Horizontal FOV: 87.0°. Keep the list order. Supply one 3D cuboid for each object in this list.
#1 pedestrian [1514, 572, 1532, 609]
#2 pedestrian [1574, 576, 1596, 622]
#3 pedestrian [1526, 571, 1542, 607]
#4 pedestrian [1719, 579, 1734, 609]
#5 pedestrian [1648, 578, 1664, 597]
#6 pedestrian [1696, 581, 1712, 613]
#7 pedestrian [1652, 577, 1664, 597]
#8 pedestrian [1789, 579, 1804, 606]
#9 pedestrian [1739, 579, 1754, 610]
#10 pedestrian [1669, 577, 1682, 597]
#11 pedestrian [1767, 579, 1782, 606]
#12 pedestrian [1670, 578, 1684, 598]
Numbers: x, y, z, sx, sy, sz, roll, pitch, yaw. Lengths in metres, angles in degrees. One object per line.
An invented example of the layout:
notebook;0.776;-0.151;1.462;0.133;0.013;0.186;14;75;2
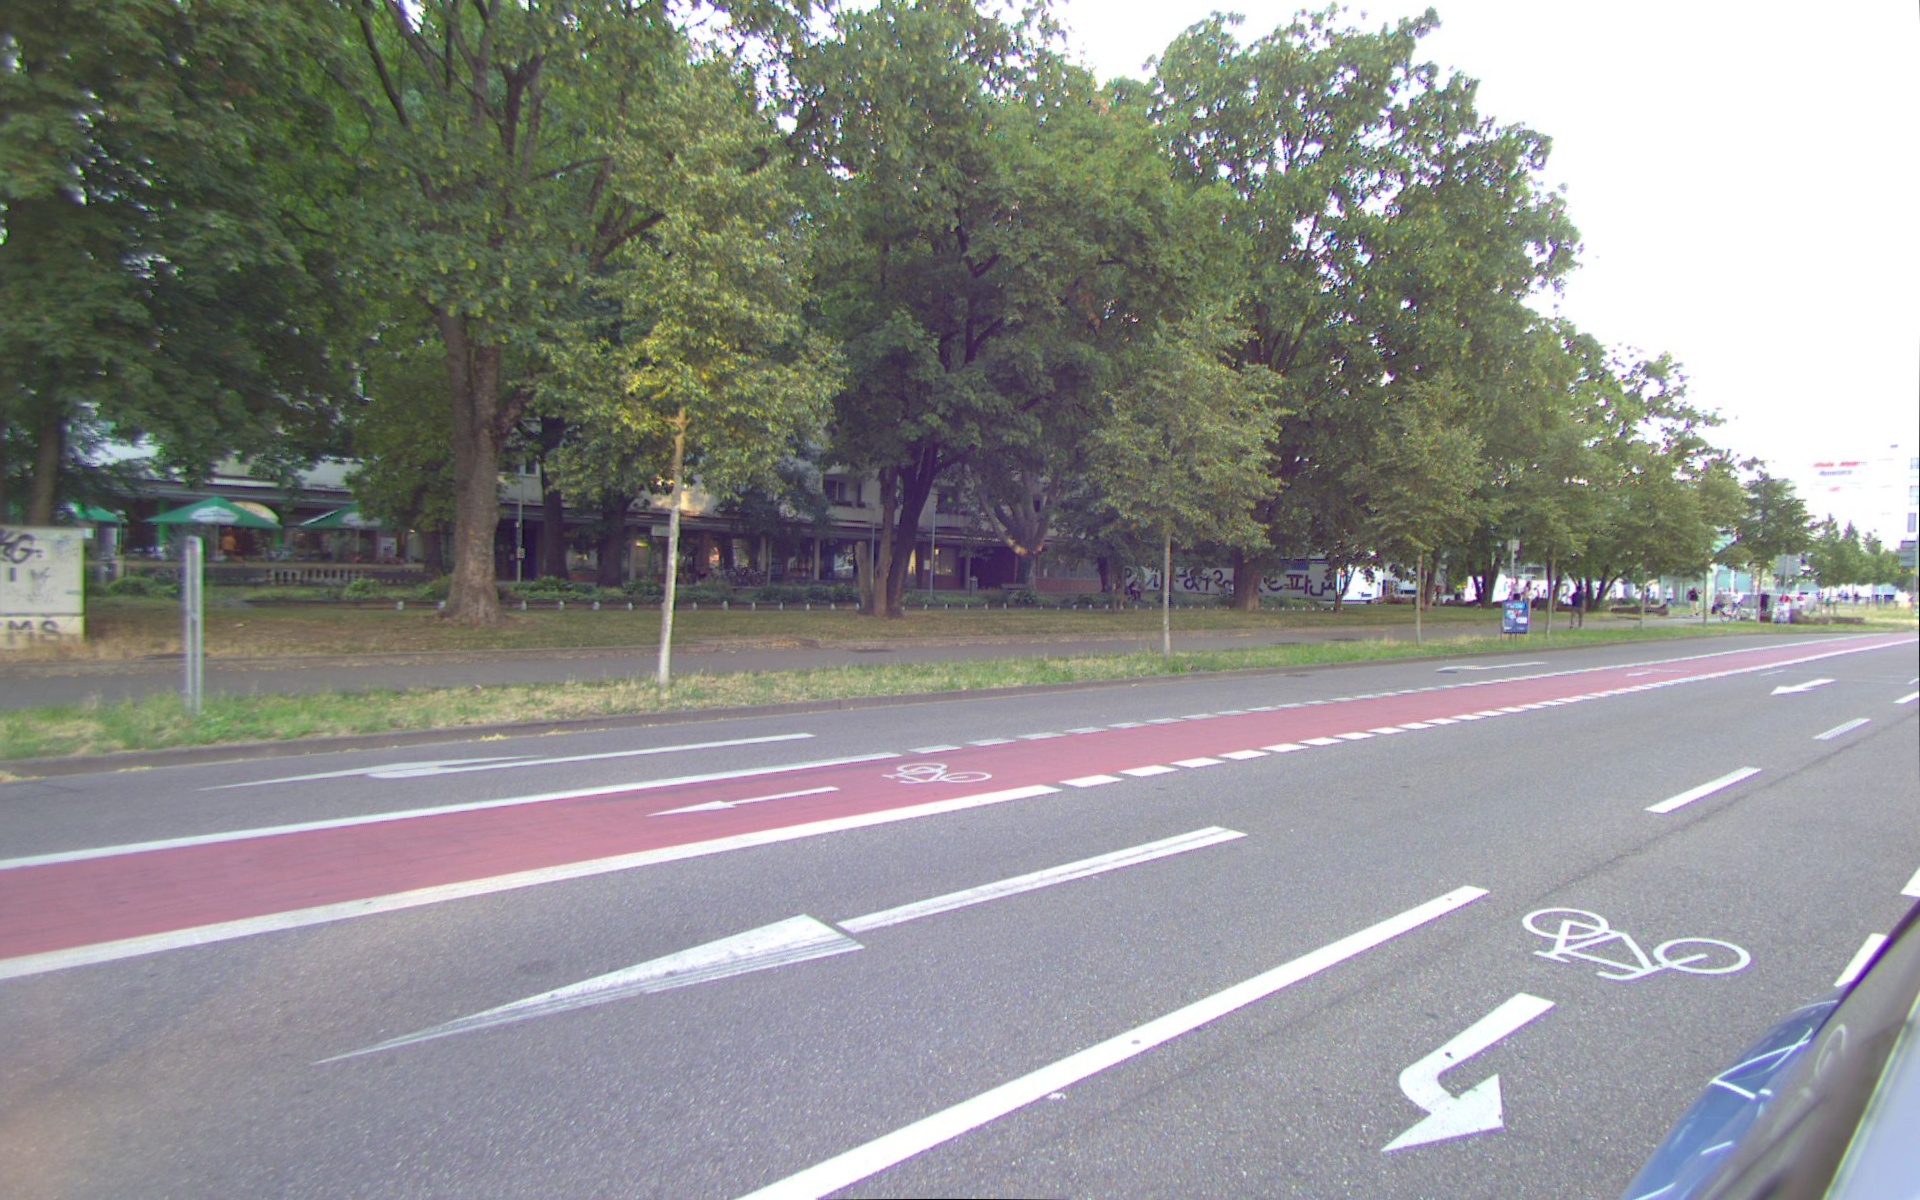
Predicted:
pedestrian;25.032;-0.434;44.974;0.513;1.621;0.500;0;2;-41
pedestrian;24.302;-0.058;39.345;0.546;1.760;0.558;0;2;-41
pedestrian;26.049;-0.488;45.900;0.359;1.621;0.500;1;2;-40
pedestrian;45.208;-0.352;59.719;0.707;1.751;0.519;0;2;-40
pedestrian;50.365;-0.897;73.231;0.604;1.371;0.728;0;2;-40
pedestrian;41.652;-0.189;56.649;0.707;1.751;0.508;0;2;-41
pedestrian;49.356;-0.898;71.555;0.759;1.371;0.519;0;2;-41
pedestrian;54.830;-0.485;66.320;0.497;1.779;0.638;0;2;-40
pedestrian;45.716;-0.315;58.836;0.707;1.751;0.508;0;2;-41
pedestrian;50.126;-0.898;70.905;0.759;1.371;0.519;0;2;-41
pedestrian;54.186;-0.506;67.288;0.497;1.779;0.638;0;2;-40
pedestrian;51.361;-0.873;72.481;0.550;1.371;0.662;0;2;-40
